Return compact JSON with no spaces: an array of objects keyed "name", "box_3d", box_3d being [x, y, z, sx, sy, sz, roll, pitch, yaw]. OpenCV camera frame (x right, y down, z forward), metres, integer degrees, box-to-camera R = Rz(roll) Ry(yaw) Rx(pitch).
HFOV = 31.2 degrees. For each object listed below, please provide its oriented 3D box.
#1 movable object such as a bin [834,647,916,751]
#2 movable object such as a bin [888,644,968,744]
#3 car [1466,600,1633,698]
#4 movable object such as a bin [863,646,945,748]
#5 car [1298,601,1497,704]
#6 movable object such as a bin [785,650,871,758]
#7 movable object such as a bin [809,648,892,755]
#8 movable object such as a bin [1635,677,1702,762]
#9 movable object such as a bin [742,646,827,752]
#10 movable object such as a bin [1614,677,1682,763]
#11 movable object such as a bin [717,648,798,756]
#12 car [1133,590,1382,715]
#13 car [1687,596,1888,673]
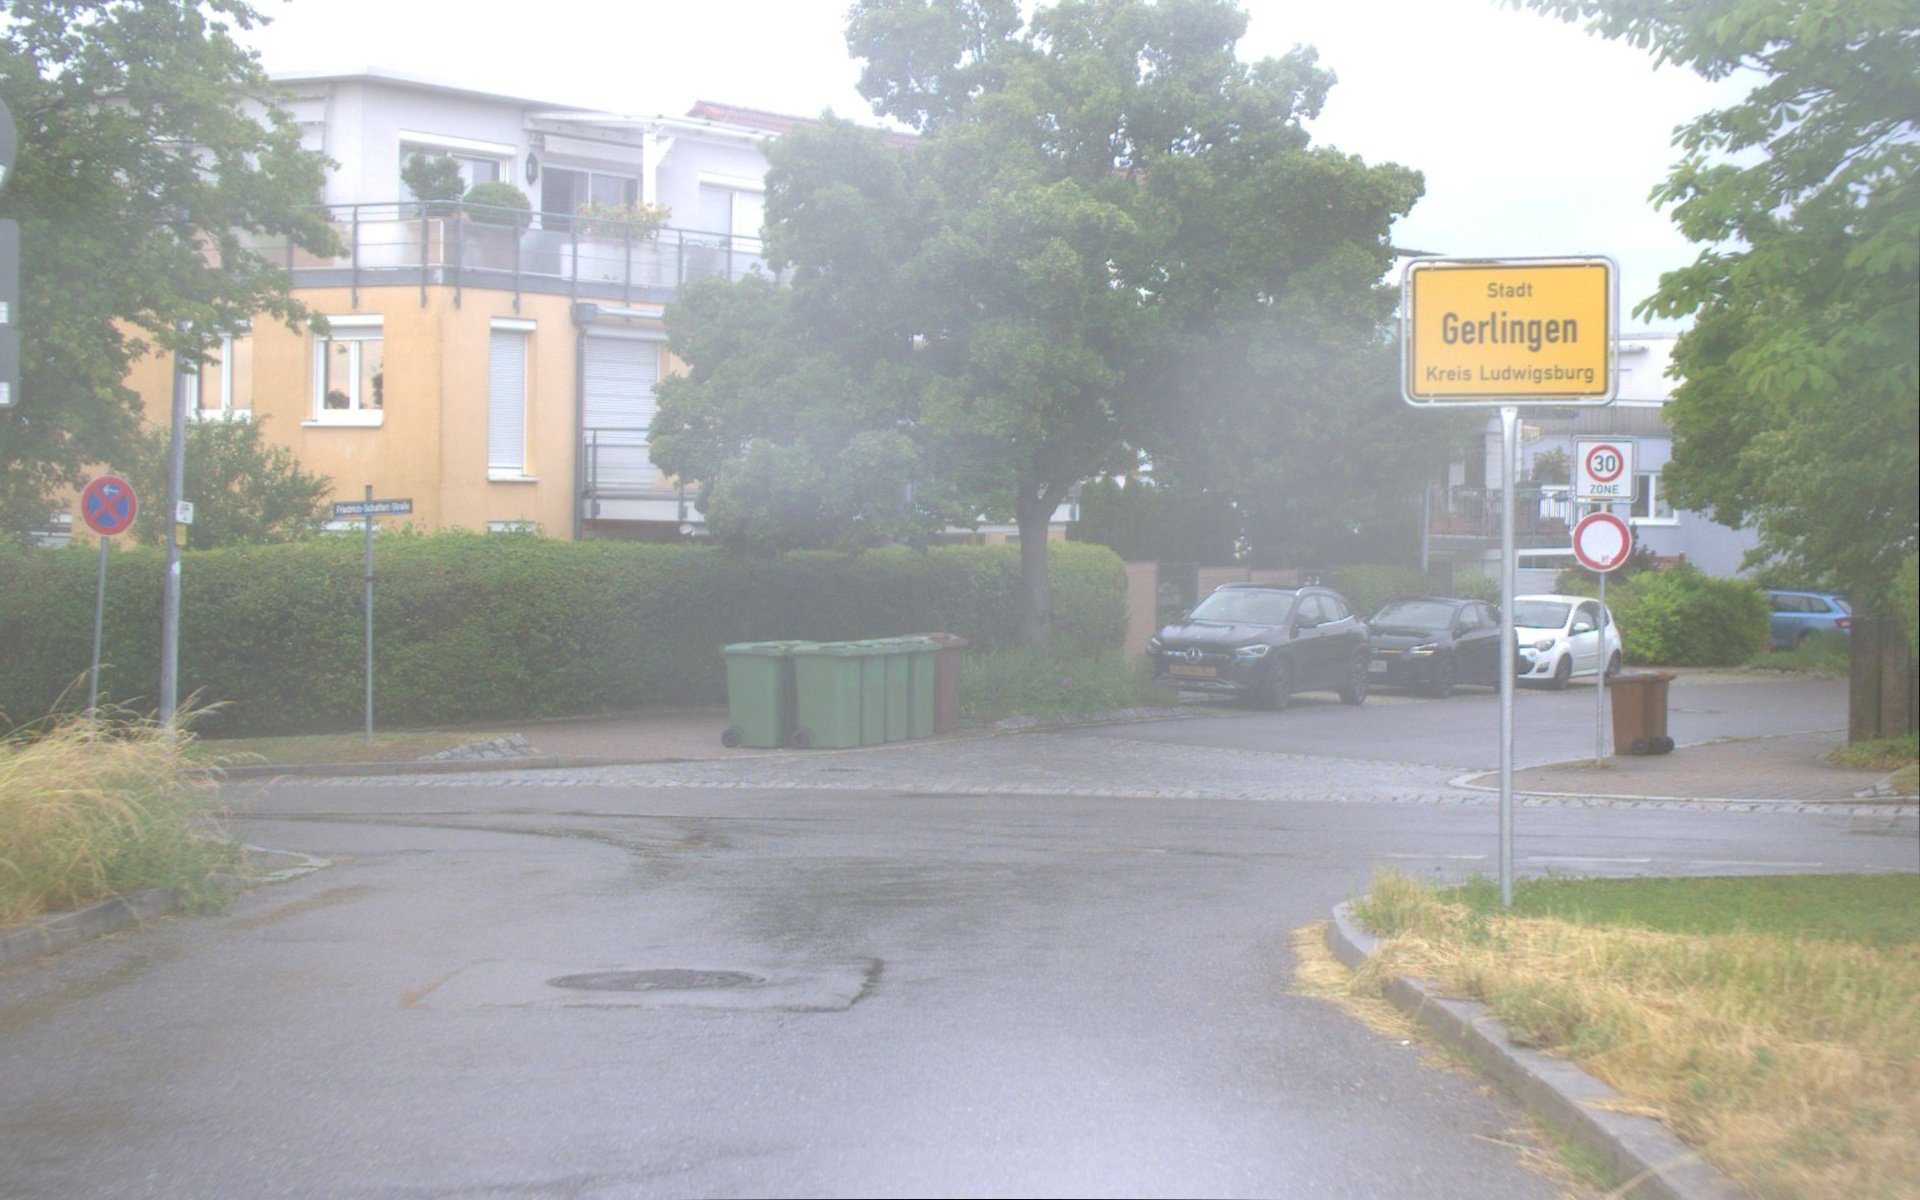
[{"name":"movable object such as a bin","box_3d":[-0.889,1.033,36.110,0.695,1.063,0.578,0,1,21]},{"name":"movable object such as a bin","box_3d":[-0.344,1.016,37.395,0.695,1.051,0.605,0,1,21]},{"name":"car","box_3d":[9.572,0.777,55.679,1.513,1.471,3.267,3,1,31]},{"name":"movable object such as a bin","box_3d":[-0.597,1.025,36.672,0.695,1.051,0.605,0,1,21]},{"name":"car","box_3d":[6.574,0.758,51.418,1.638,1.404,3.598,3,1,30]},{"name":"movable object such as a bin","box_3d":[-1.343,1.051,34.949,0.695,1.071,0.601,0,1,21]},{"name":"movable object such as a bin","box_3d":[-1.130,1.041,35.530,0.695,1.071,0.543,0,1,21]},{"name":"movable object such as a bin","box_3d":[8.016,1.344,38.905,0.571,0.928,0.529,1,0,34]},{"name":"movable object such as a bin","box_3d":[-1.824,1.028,35.749,0.695,1.069,0.597,0,1,21]},{"name":"movable object such as a bin","box_3d":[7.695,1.339,38.435,0.571,0.928,0.529,1,0,34]},{"name":"movable object such as a bin","box_3d":[-2.068,1.036,35.176,0.666,1.070,0.543,0,1,21]},{"name":"car","box_3d":[4.042,0.680,46.137,1.778,1.513,4.131,3,1,28]},{"name":"car","box_3d":[18.285,0.749,75.950,3.992,1.563,1.906,2,0,25]}]
